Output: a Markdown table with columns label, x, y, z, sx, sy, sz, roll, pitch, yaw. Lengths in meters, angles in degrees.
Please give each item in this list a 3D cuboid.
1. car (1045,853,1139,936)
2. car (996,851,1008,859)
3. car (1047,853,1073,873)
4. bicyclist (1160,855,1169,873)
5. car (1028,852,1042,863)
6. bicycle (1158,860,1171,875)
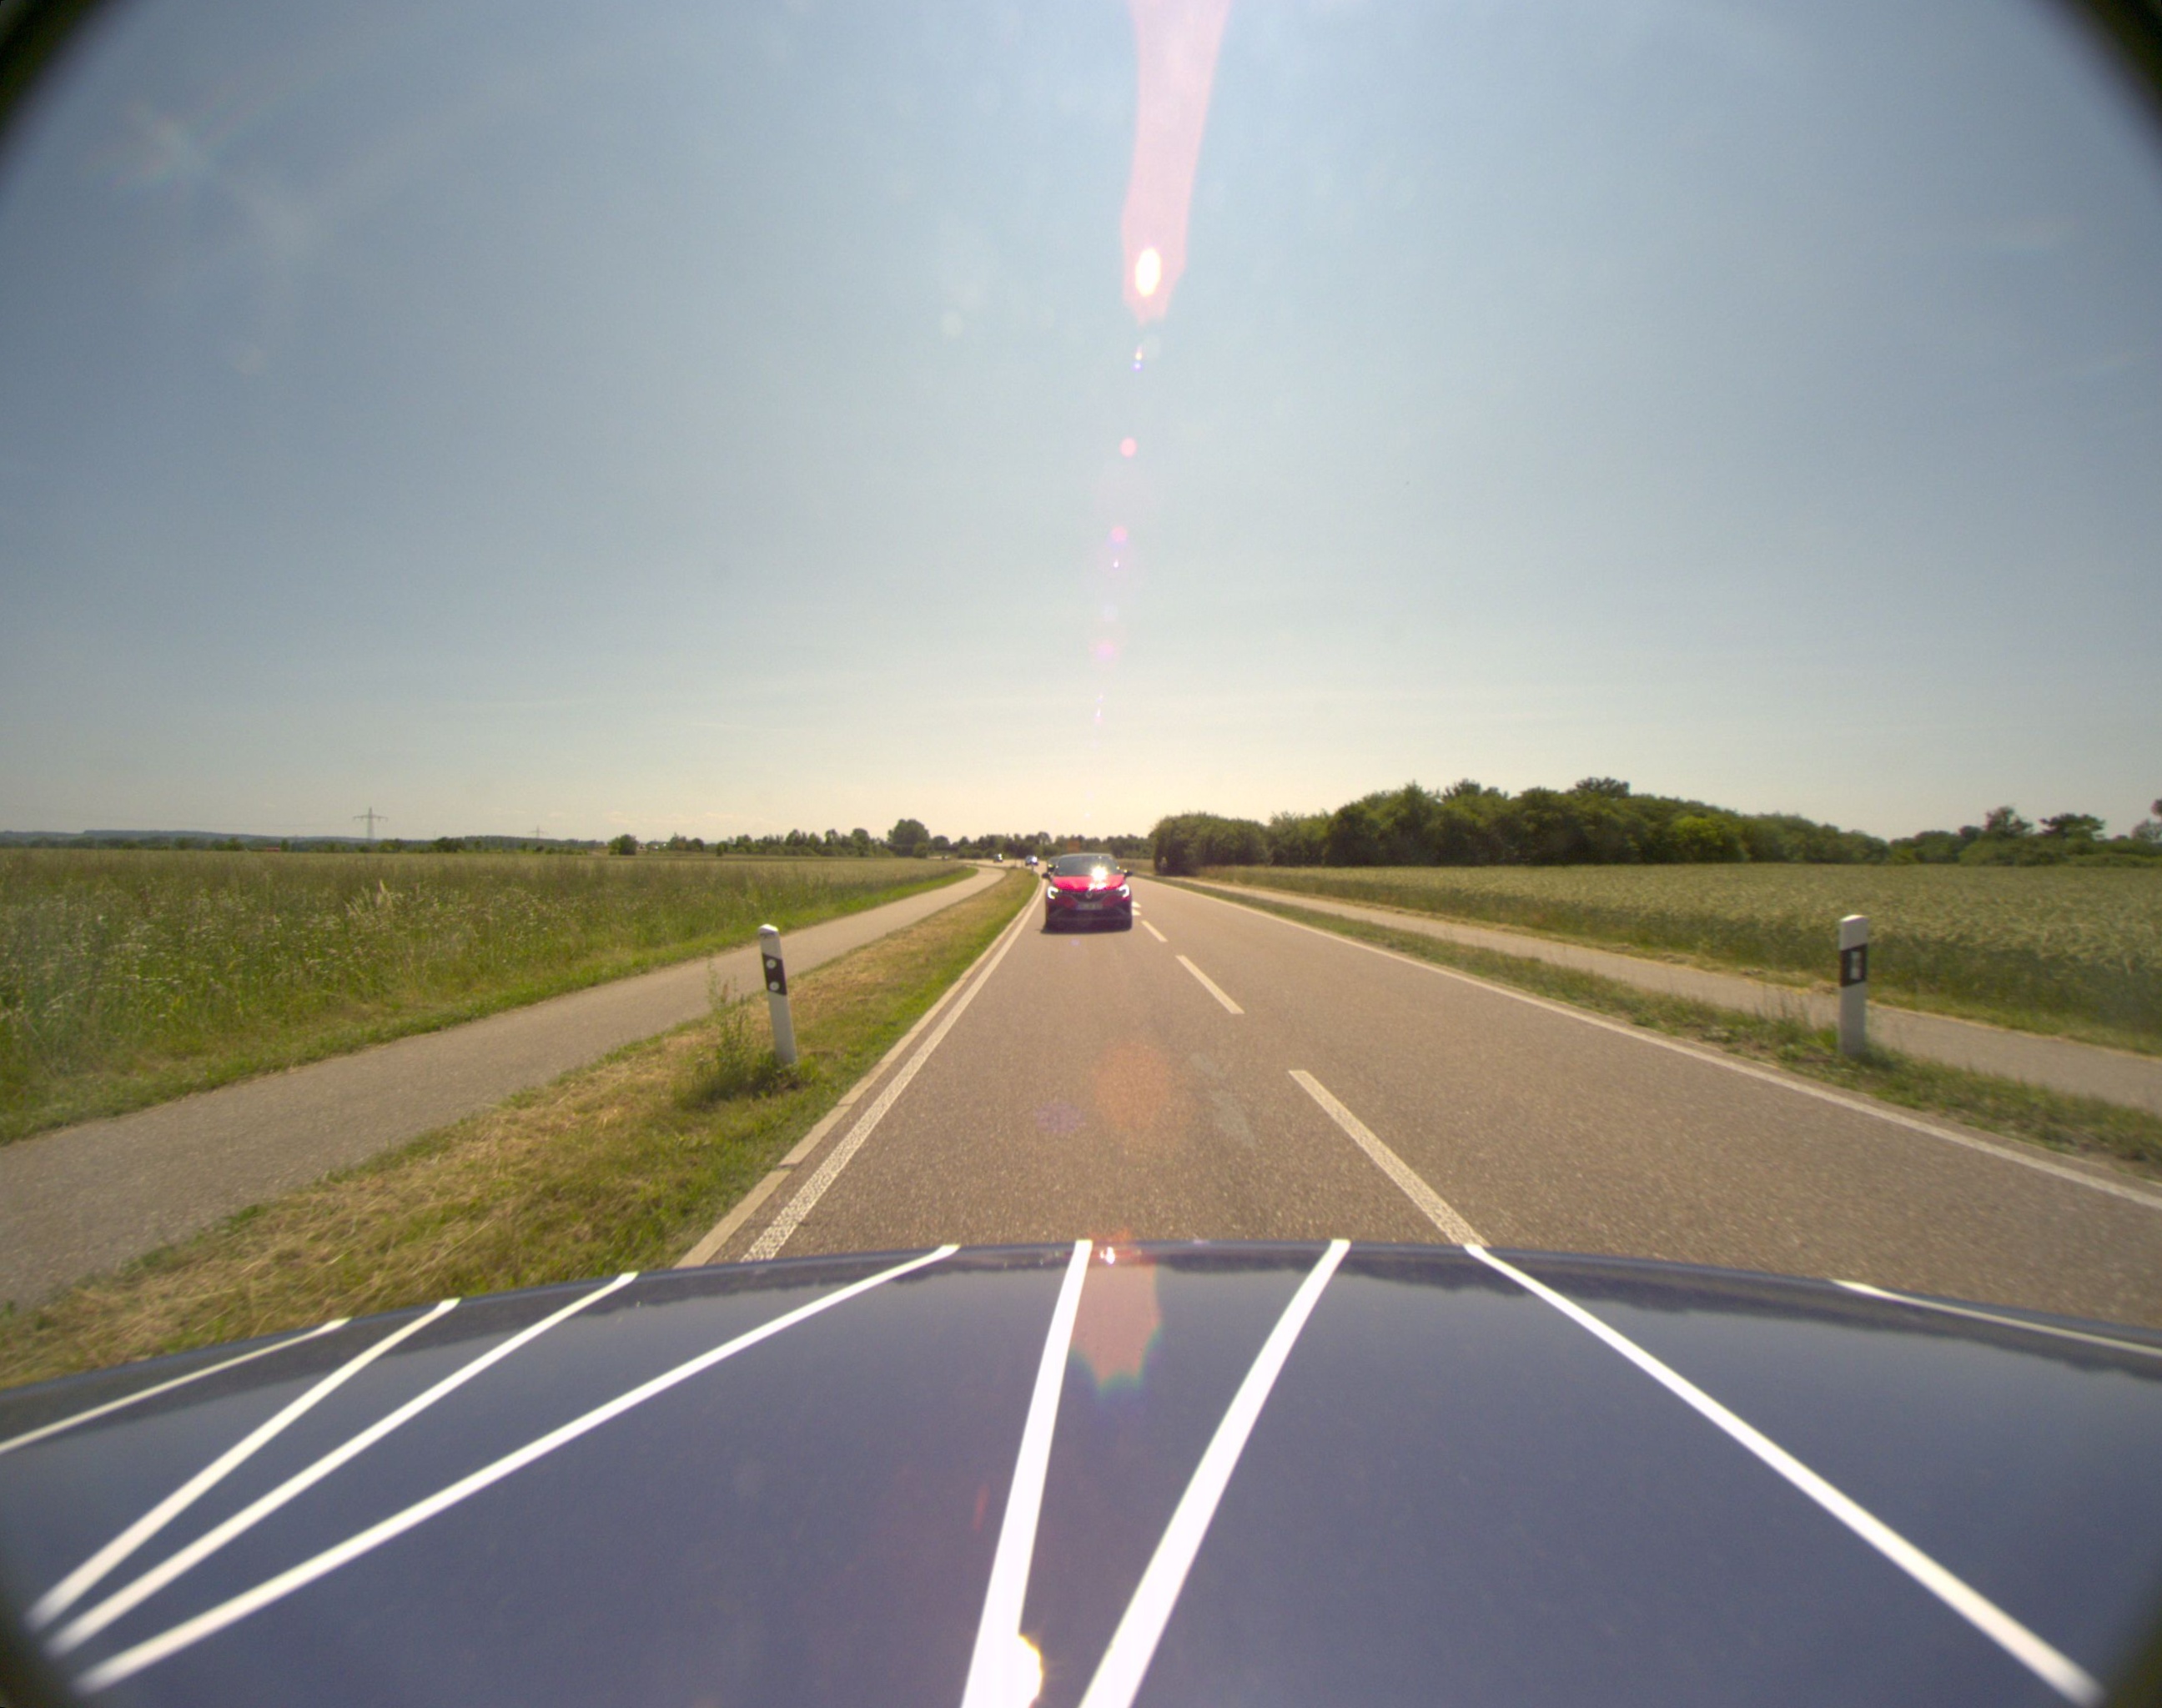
| label | x | y | z | sx | sy | sz | roll | pitch | yaw |
| --- | --- | --- | --- | --- | --- | --- | --- | --- | --- |
| car | 0.196 | 0.813 | 17.538 | 1.837 | 1.587 | 4.721 | -1 | 1 | -1 |
| car | -17.500 | 0.261 | 167.615 | 1.985 | 1.587 | 5.395 | -1 | 1 | -13 |
| car | -1.841 | 0.744 | 65.615 | 1.984 | 1.587 | 5.399 | -1 | 0 | -4 |
| bicyclist | 7.117 | 0.852 | 64.729 | 0.665 | 1.430 | 0.822 | -1 | 1 | -3 |
| car | -6.920 | 0.513 | 114.141 | 1.984 | 1.587 | 5.399 | -1 | 0 | -6 |
| bicycle | 7.114 | 1.143 | 64.749 | 0.696 | 1.169 | 1.962 | 0 | 0 | -6 |
